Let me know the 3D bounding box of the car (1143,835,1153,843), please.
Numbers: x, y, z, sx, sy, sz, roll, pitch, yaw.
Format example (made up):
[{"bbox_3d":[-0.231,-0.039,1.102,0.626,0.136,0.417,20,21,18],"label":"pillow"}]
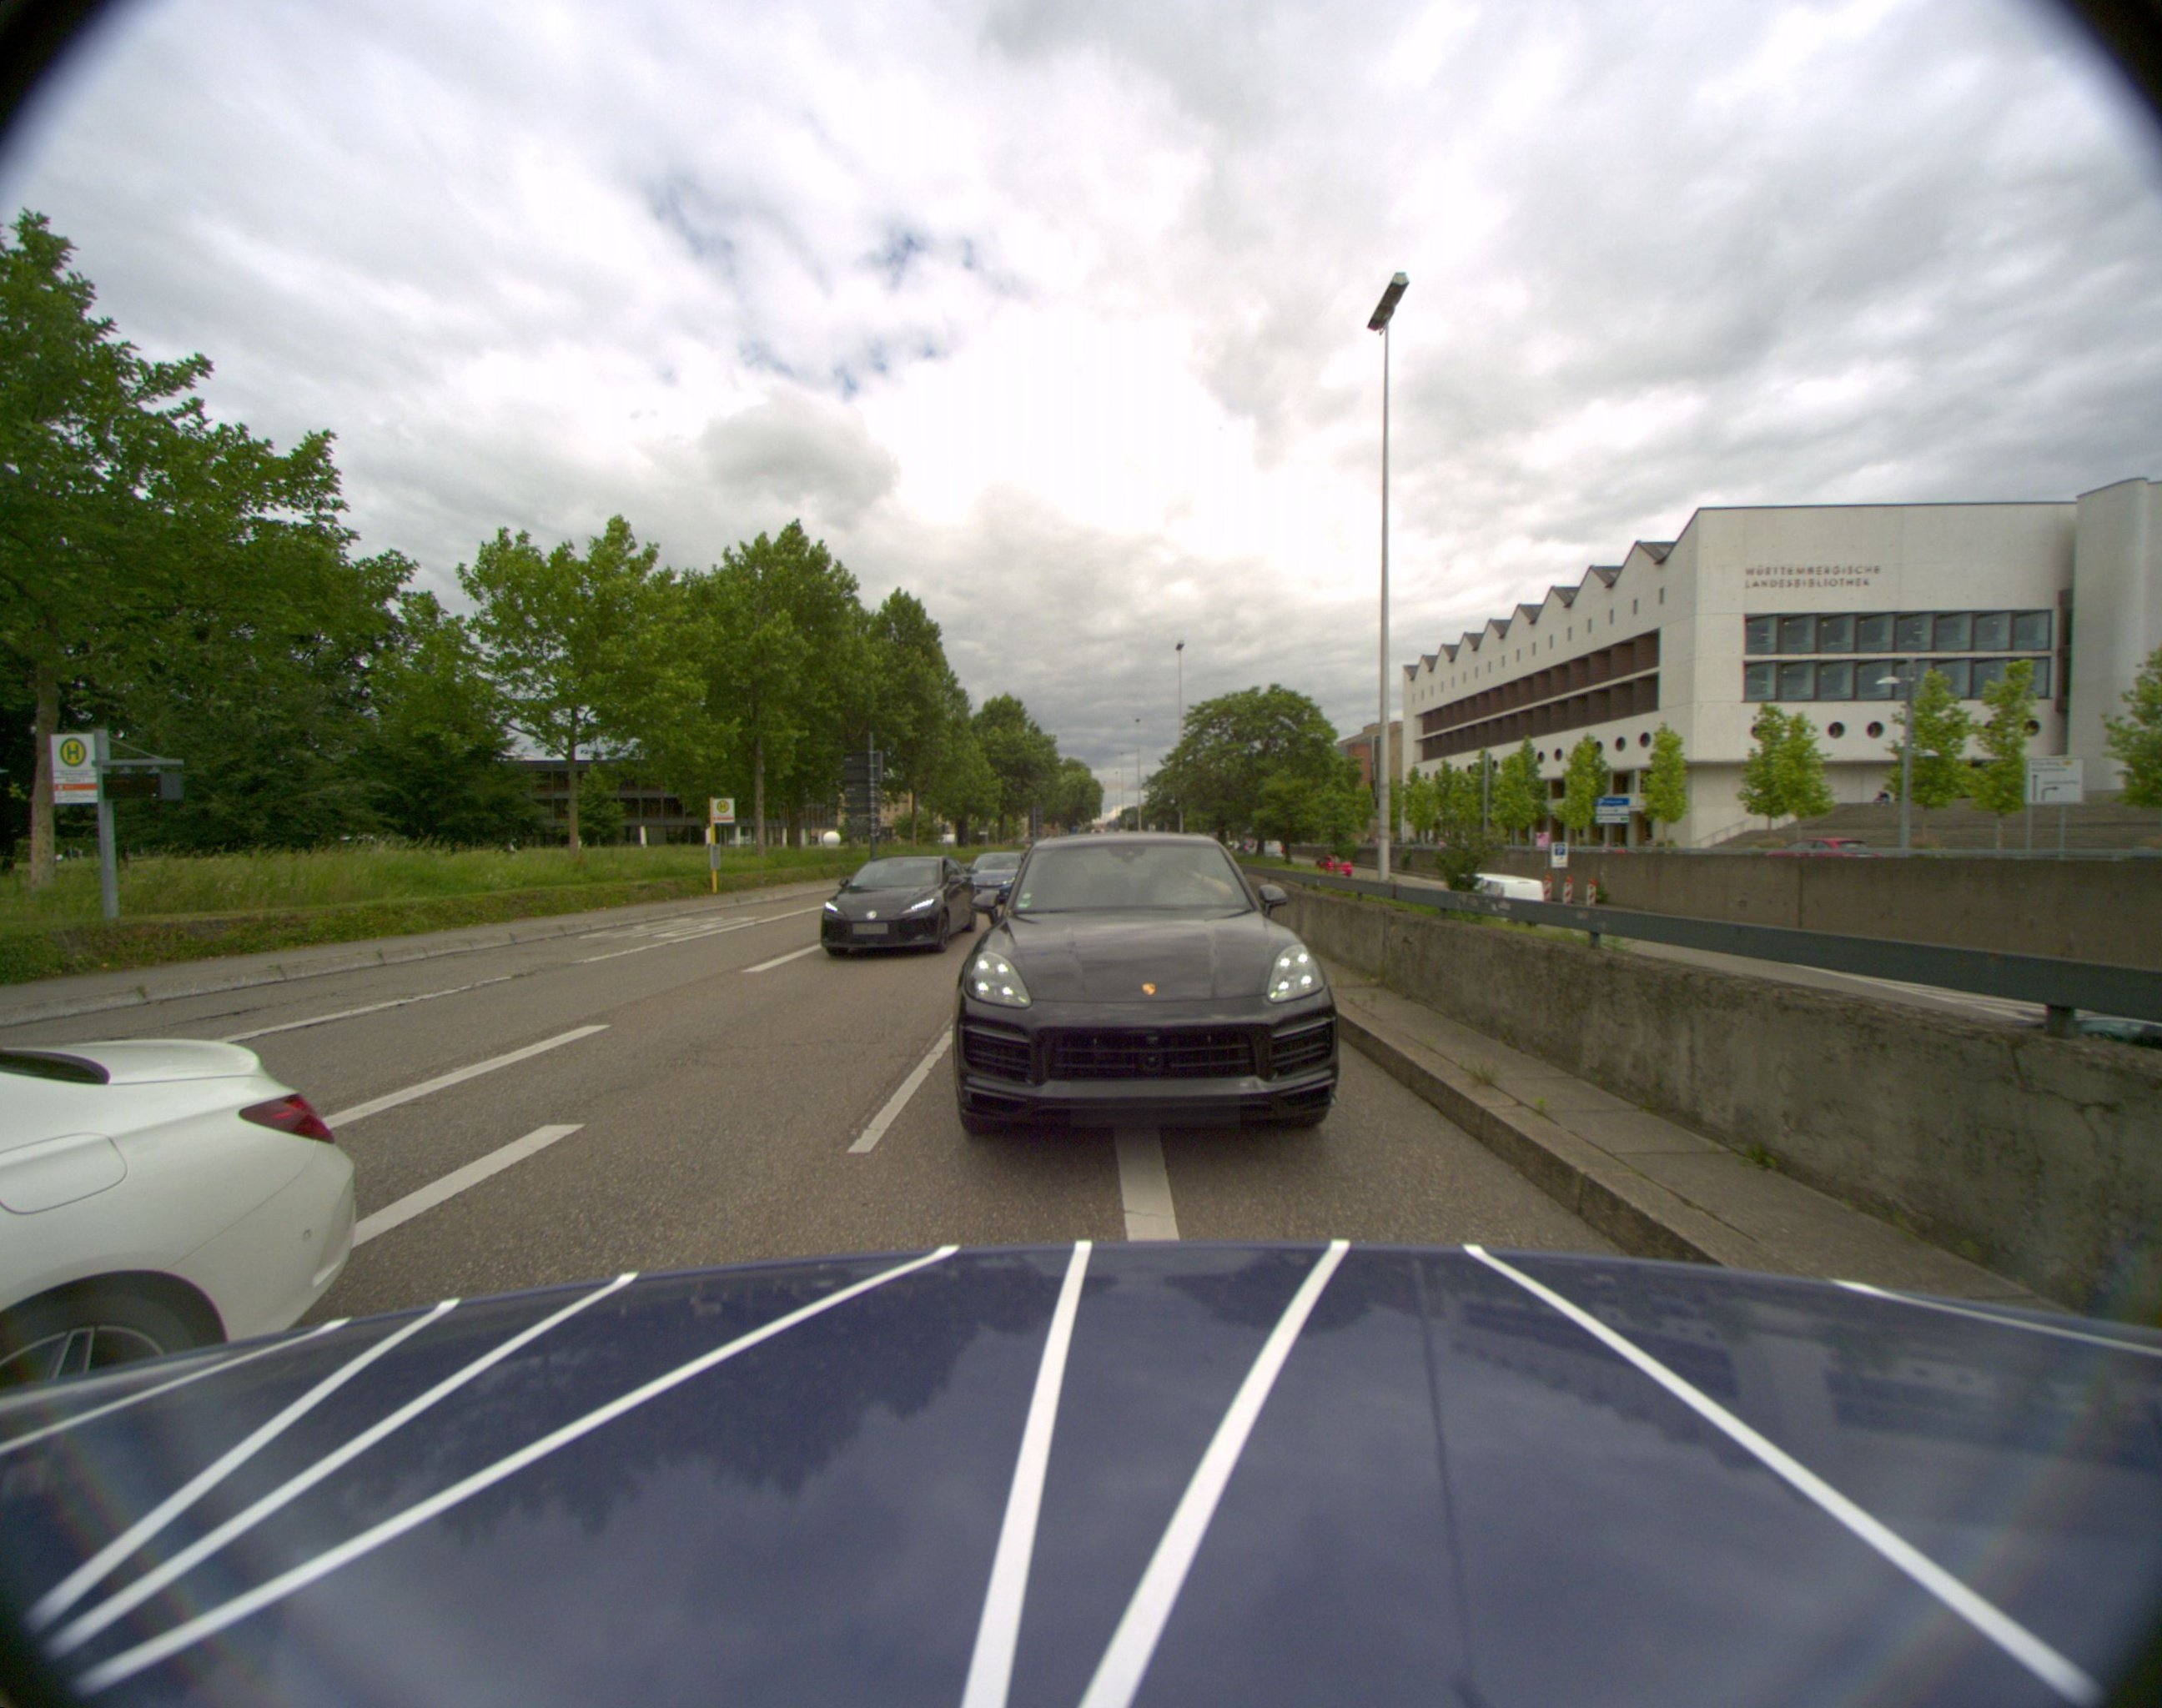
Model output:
[{"bbox_3d":[11.887,-2.654,134.216,1.372,1.390,3.721,2,1,0],"label":"car"}]

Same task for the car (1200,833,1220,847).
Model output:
[{"bbox_3d":[16.438,-1.807,97.154,1.779,1.481,4.143,0,4,0],"label":"car"}]

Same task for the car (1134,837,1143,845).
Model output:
[{"bbox_3d":[11.535,-2.653,152.493,1.372,1.389,3.722,-1,-1,-1],"label":"car"}]

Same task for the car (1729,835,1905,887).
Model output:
[{"bbox_3d":[28.415,0.225,29.624,2.180,1.844,4.734,-1,1,-3],"label":"car"}]

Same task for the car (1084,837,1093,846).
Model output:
[{"bbox_3d":[1.731,-2.925,174.520,1.693,2.002,3.999,-3,2,2],"label":"car"}]

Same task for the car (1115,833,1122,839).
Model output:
[{"bbox_3d":[11.487,-5.683,234.936,1.998,1.753,3.999,2,2,0],"label":"car"}]

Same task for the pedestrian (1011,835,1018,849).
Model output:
[{"bbox_3d":[-10.440,-1.889,119.643,0.892,2.002,1.181,-3,2,2],"label":"pedestrian"}]

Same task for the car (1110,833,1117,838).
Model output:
[{"bbox_3d":[10.655,-6.117,249.816,1.998,1.753,3.999,2,2,0],"label":"car"}]

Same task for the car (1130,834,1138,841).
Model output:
[{"bbox_3d":[11.214,-3.493,162.123,1.442,1.390,3.721,2,1,0],"label":"car"}]

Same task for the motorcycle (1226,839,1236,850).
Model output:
[{"bbox_3d":[17.752,-1.151,89.851,0.687,1.092,2.049,3,4,1],"label":"motorcycle"}]

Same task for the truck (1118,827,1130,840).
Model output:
[{"bbox_3d":[11.093,-5.325,196.410,2.576,3.289,8.078,-3,2,2],"label":"truck"}]

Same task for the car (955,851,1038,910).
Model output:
[{"bbox_3d":[-2.344,0.695,22.043,1.805,1.426,4.015,-1,1,2],"label":"car"}]

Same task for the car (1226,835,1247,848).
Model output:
[{"bbox_3d":[20.354,-1.656,99.514,1.780,1.481,4.142,0,4,-2],"label":"car"}]

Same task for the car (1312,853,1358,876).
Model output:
[{"bbox_3d":[17.784,0.688,53.463,1.998,1.477,4.000,-1,1,2],"label":"car"}]

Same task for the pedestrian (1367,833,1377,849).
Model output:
[{"bbox_3d":[36.008,-1.615,94.043,0.722,2.002,1.016,-3,2,2],"label":"pedestrian"}]

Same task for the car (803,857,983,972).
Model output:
[{"bbox_3d":[-2.922,0.867,12.781,1.852,1.481,4.092,-1,1,2],"label":"car"}]

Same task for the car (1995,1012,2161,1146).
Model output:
[{"bbox_3d":[17.320,3.645,11.632,1.880,1.539,3.999,-1,1,1],"label":"car"}]

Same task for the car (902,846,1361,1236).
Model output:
[{"bbox_3d":[0.338,0.782,5.579,1.904,1.581,4.732,-1,1,3],"label":"car"}]

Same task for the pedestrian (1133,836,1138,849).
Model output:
[{"bbox_3d":[8.935,-1.869,125.043,0.792,2.002,0.741,-1,0,2],"label":"pedestrian"}]

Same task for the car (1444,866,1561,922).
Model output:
[{"bbox_3d":[17.364,1.589,31.686,2.223,2.002,5.116,-1,1,3],"label":"car"}]

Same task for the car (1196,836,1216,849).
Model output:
[{"bbox_3d":[17.608,-1.617,107.401,1.998,1.665,4.516,2,1,0],"label":"car"}]

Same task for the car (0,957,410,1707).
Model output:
[{"bbox_3d":[-3.185,1.105,0.213,1.799,1.412,4.526,-1,1,2],"label":"car"}]

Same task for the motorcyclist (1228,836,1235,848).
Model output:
[{"bbox_3d":[17.761,-1.457,89.784,0.671,1.345,0.717,3,4,0],"label":"motorcyclist"}]

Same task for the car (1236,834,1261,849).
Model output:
[{"bbox_3d":[20.284,-1.563,92.280,1.875,1.604,4.386,0,4,-3],"label":"car"}]

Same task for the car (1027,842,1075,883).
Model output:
[{"bbox_3d":[-1.445,0.358,38.178,2.021,1.823,4.804,-1,1,2],"label":"car"}]

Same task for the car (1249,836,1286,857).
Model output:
[{"bbox_3d":[17.638,-0.780,72.181,1.999,1.630,5.246,5,3,-1],"label":"car"}]

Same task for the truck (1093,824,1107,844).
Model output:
[{"bbox_3d":[3.544,-3.864,143.038,2.357,3.518,9.423,-3,2,2],"label":"truck"}]

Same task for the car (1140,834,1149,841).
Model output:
[{"bbox_3d":[11.841,-3.091,141.935,1.372,1.390,3.721,2,1,0],"label":"car"}]

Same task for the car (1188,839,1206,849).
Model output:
[{"bbox_3d":[17.115,-1.549,112.063,1.998,1.390,3.999,2,1,0],"label":"car"}]
